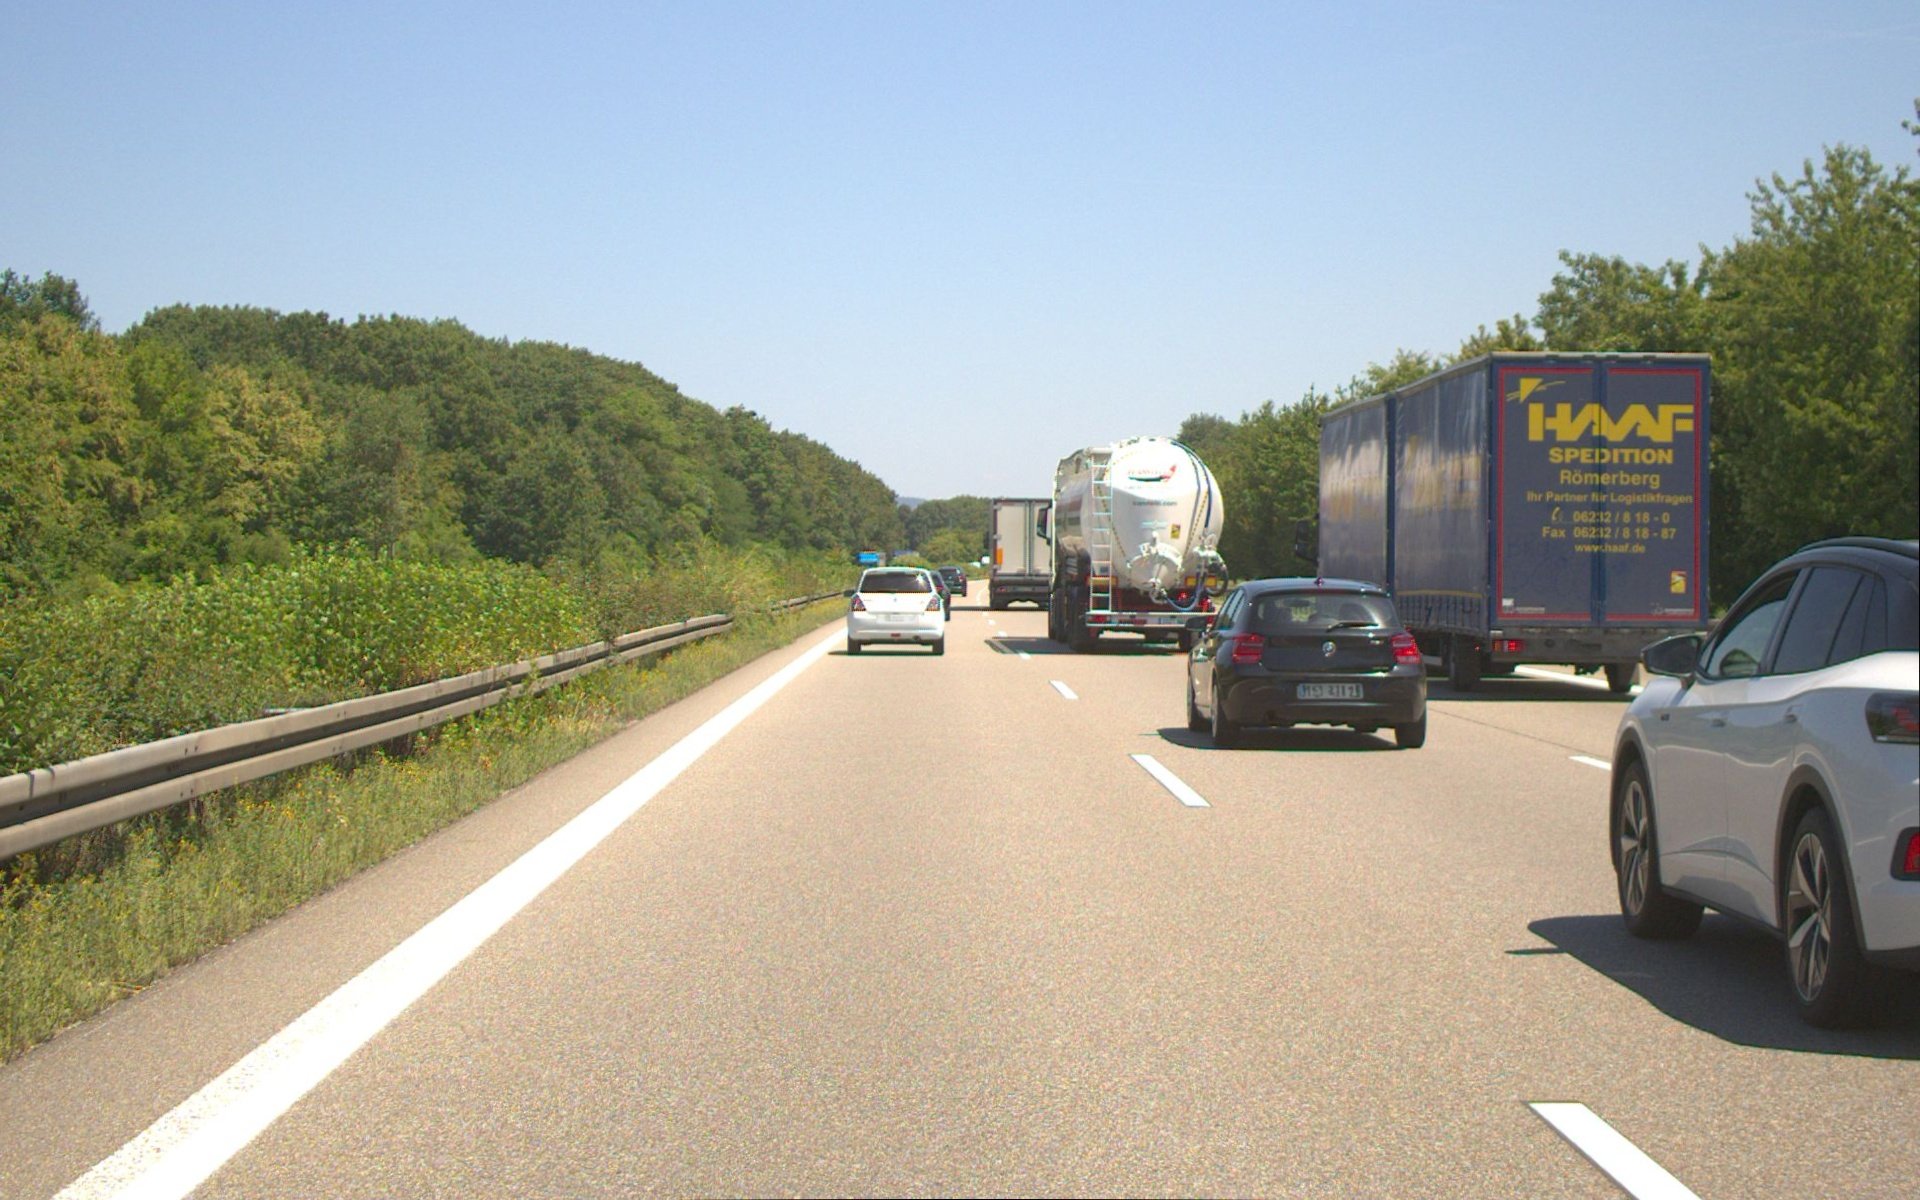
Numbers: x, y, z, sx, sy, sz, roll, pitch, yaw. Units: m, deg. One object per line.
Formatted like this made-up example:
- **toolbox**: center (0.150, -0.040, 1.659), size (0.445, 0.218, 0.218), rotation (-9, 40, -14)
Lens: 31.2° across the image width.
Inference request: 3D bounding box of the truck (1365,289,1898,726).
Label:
- **truck**: center (7.319, -0.998, 40.559), size (3.109, 4.124, 15.512), rotation (1, 1, 0)

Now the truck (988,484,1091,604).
- **truck**: center (2.867, -2.079, 127.655), size (3.394, 4.199, 12.084), rotation (1, 1, 0)

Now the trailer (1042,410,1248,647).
- **trailer**: center (3.347, -1.329, 65.647), size (2.911, 4.055, 12.419), rotation (1, 1, -1)

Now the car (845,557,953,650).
- **car**: center (-1.096, 0.036, 60.245), size (1.799, 1.546, 3.610), rotation (1, 1, -2)

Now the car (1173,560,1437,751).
- **car**: center (2.926, 0.428, 29.953), size (1.850, 1.518, 3.957), rotation (1, 1, 0)

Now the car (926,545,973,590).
- **car**: center (-0.573, -1.775, 186.868), size (2.475, 2.346, 5.182), rotation (1, 1, 0)

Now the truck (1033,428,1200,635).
- **truck**: center (3.173, -1.413, 71.737), size (2.912, 4.065, 7.196), rotation (1, 1, -2)

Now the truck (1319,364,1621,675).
- **truck**: center (7.271, -1.145, 50.235), size (3.109, 4.124, 8.056), rotation (1, 1, 0)

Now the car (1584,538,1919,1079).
- **car**: center (3.590, 0.596, 12.344), size (1.802, 1.597, 4.381), rotation (1, 1, -1)
